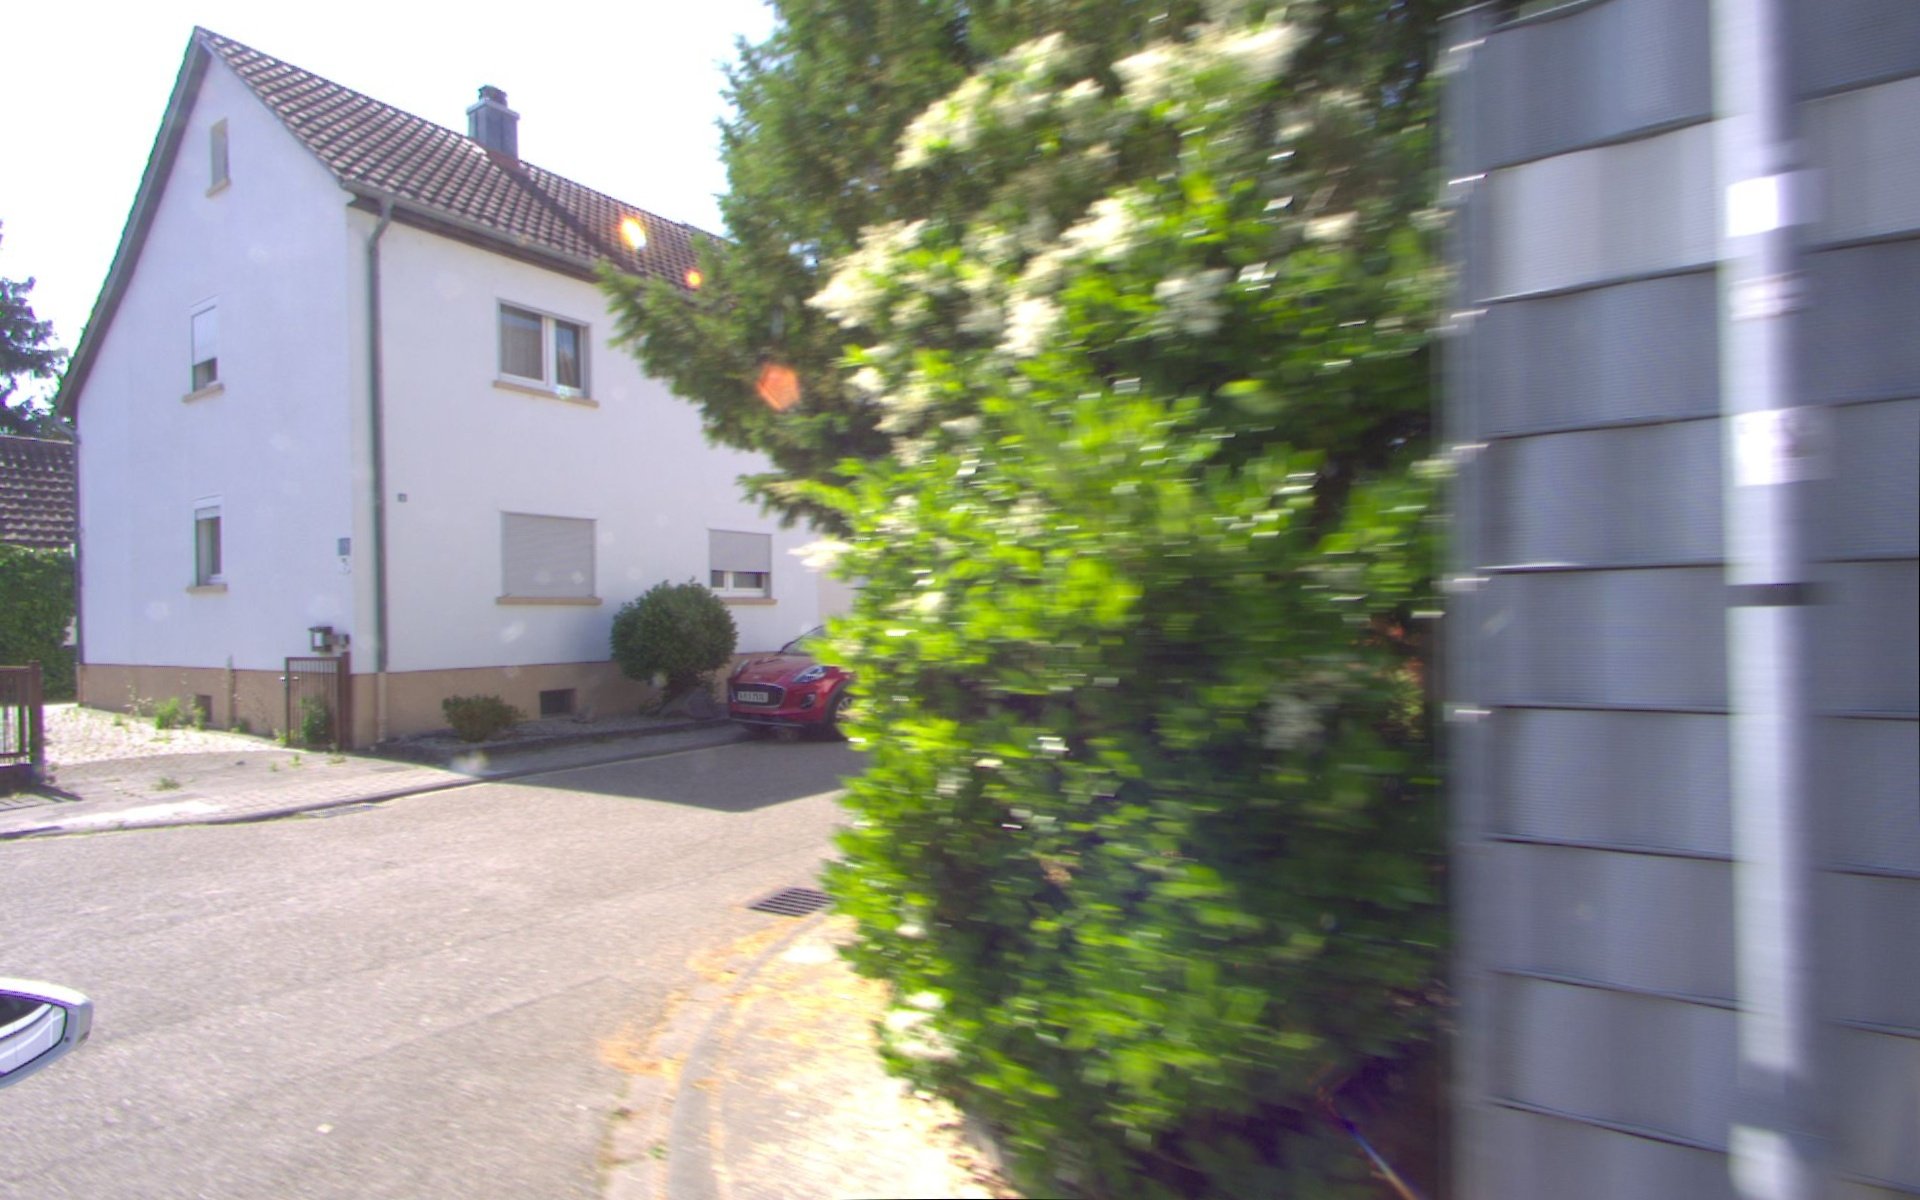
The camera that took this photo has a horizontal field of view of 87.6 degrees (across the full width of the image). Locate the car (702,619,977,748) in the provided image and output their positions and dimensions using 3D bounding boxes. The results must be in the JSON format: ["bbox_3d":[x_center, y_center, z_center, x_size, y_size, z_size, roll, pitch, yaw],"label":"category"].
[{"bbox_3d":[-1.561,1.057,14.283,1.772,1.550,3.978,-1,-1,33],"label":"car"}]
